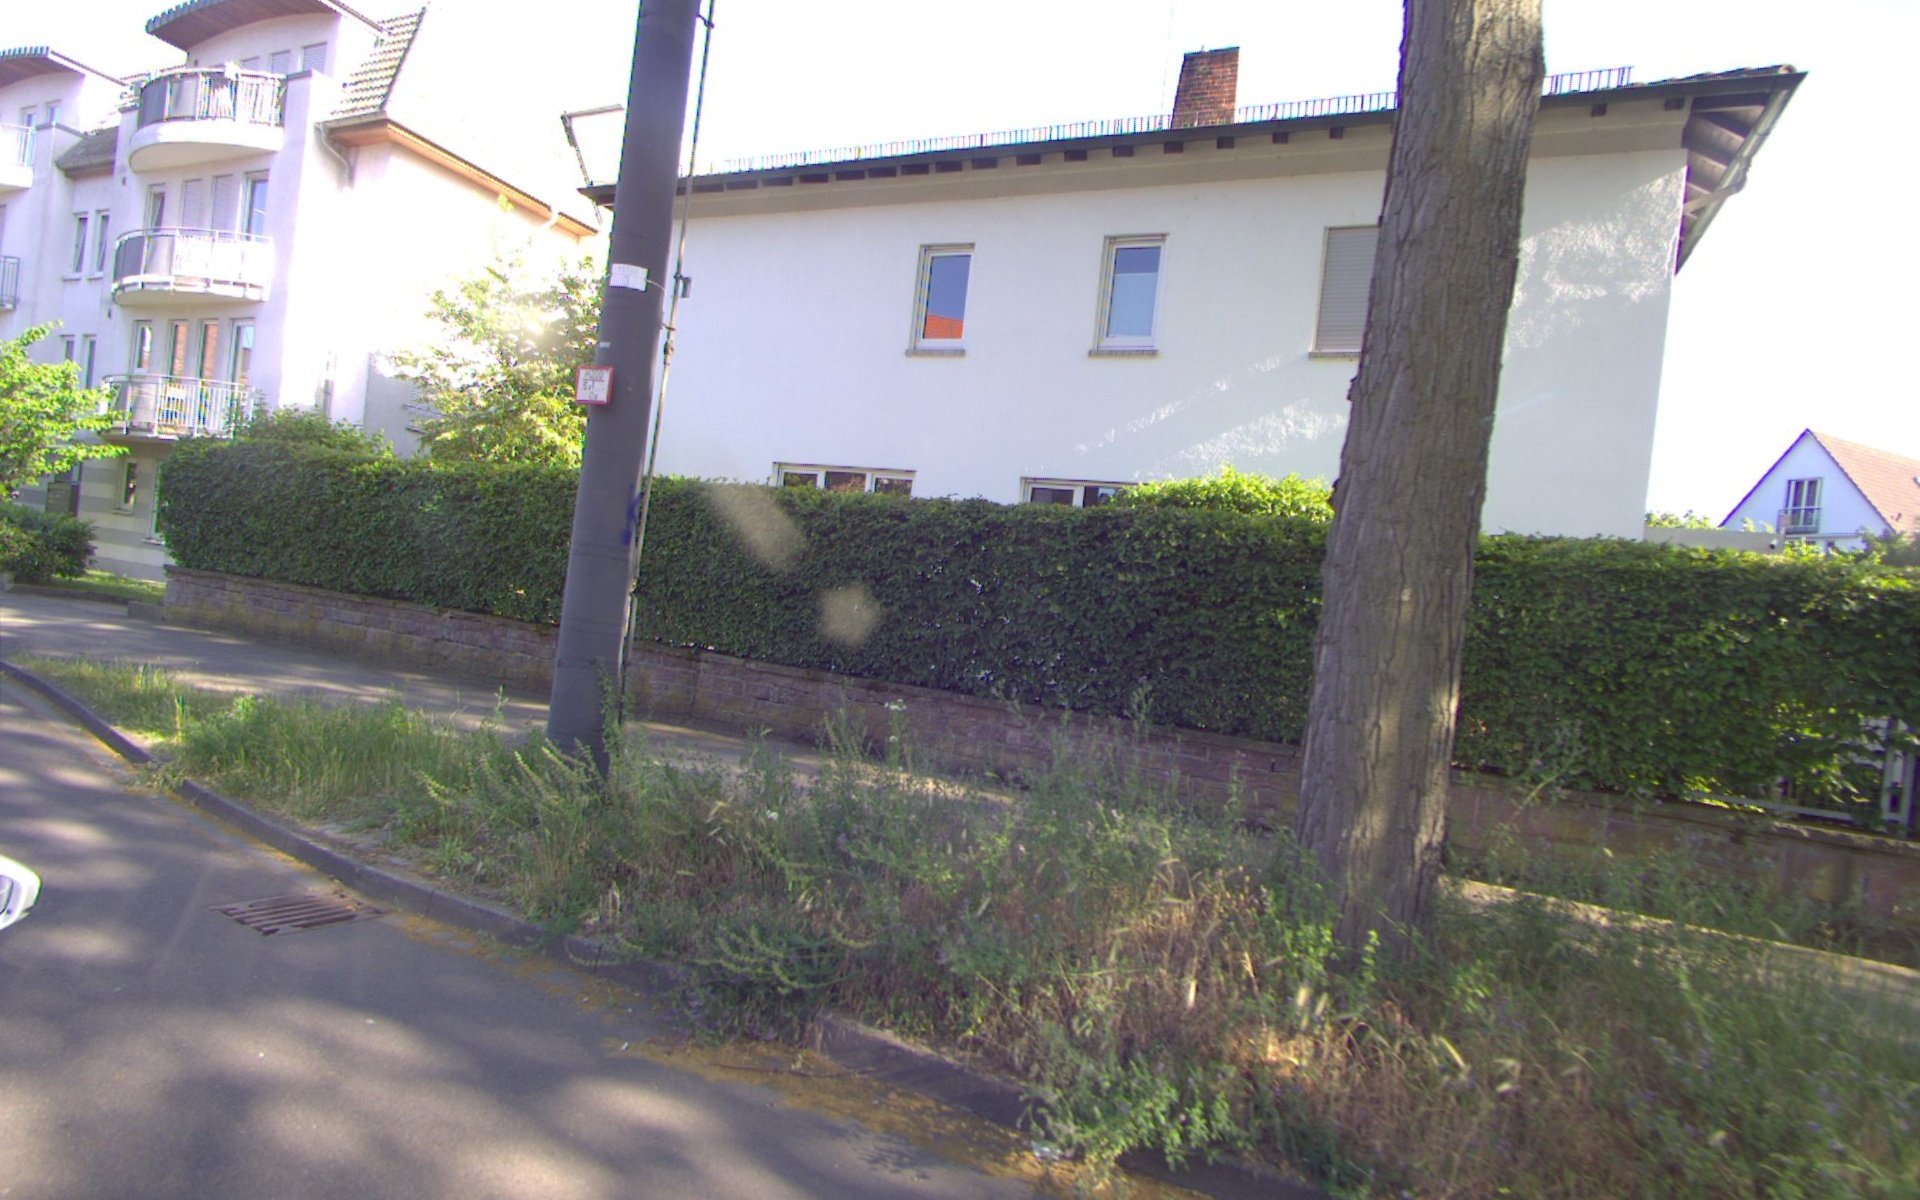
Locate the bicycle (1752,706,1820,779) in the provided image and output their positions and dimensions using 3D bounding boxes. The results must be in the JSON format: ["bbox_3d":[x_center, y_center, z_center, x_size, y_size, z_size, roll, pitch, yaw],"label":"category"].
[{"bbox_3d":[14.550,2.491,17.756,0.511,1.136,1.466,6,-1,27],"label":"bicycle"}]
